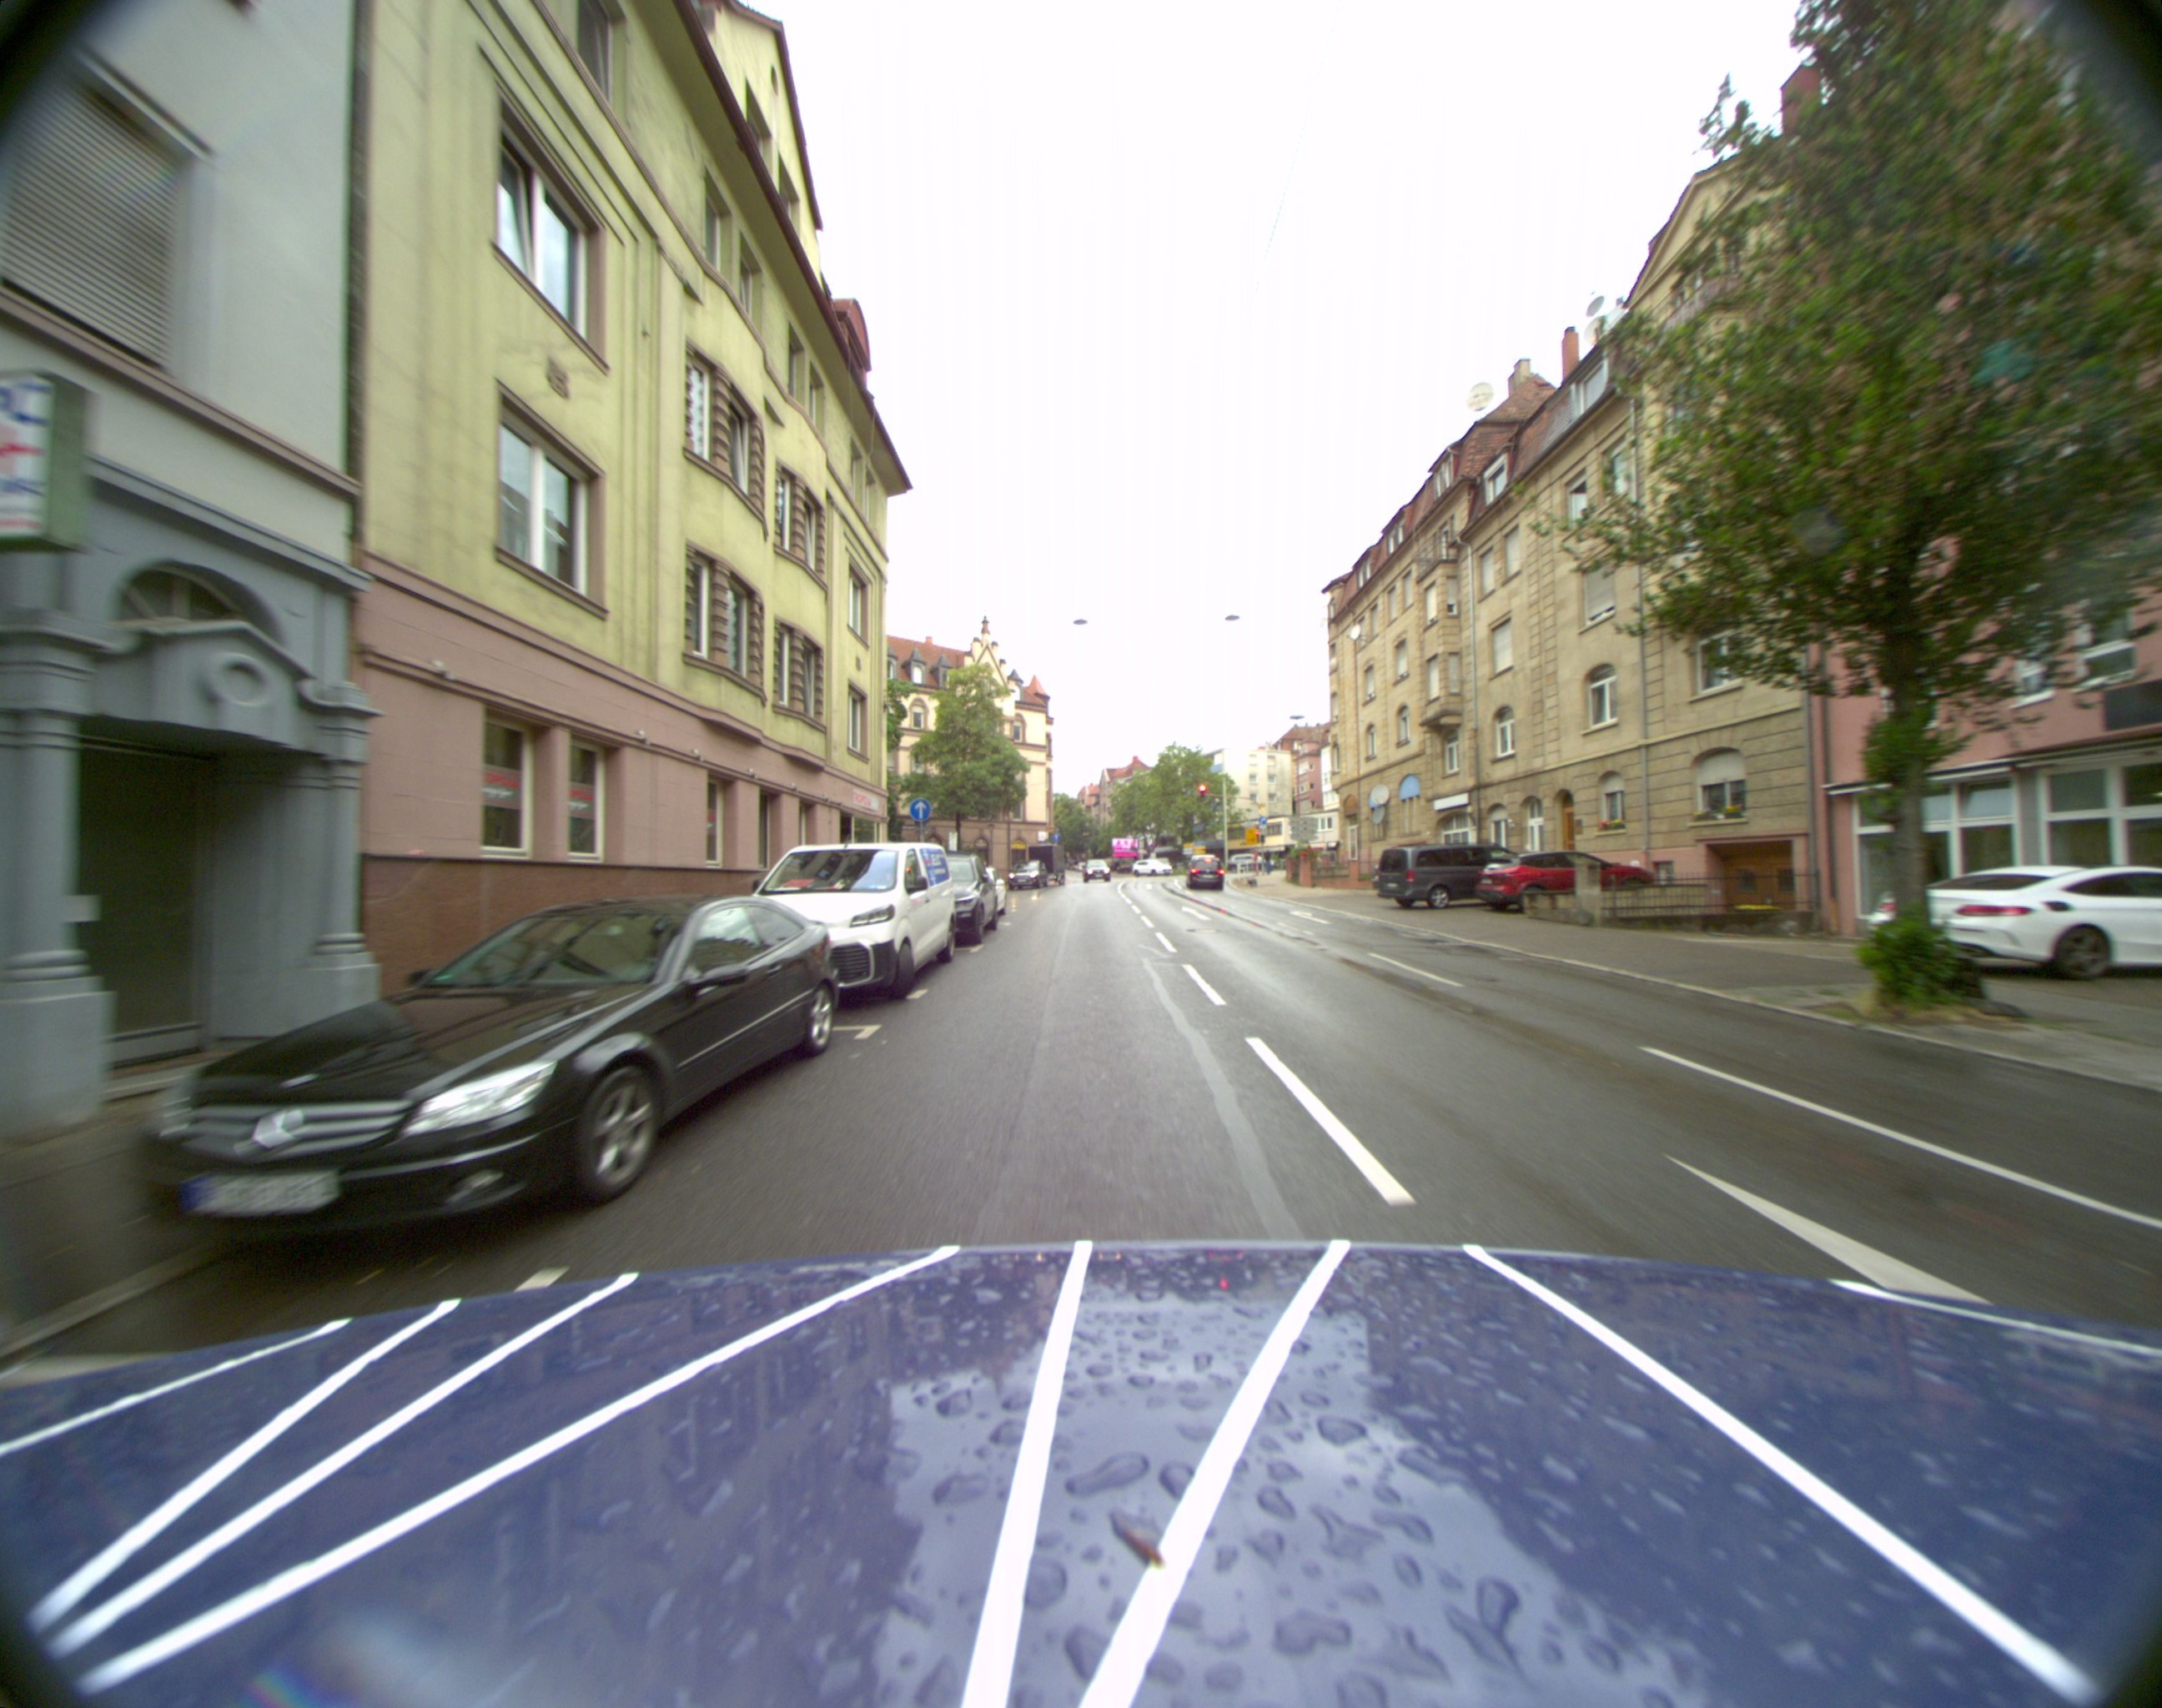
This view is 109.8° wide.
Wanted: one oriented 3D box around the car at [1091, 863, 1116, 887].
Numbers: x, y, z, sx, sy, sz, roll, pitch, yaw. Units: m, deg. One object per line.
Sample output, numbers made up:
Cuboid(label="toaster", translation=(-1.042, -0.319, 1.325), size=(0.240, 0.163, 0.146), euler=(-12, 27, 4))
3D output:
Cuboid(label="car", translation=(1.608, 1.439, 53.542), size=(1.648, 1.594, 3.668), euler=(-1, 0, 2))

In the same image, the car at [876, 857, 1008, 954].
Cuboid(label="car", translation=(-2.728, 0.934, 16.030), size=(1.883, 1.721, 4.677), euler=(0, 0, 1))

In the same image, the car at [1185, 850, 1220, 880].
Cuboid(label="car", translation=(7.794, 0.661, 48.323), size=(1.968, 1.683, 4.811), euler=(-2, 1, 11))

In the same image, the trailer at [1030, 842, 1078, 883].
Cuboid(label="trailer", translation=(-1.735, 0.538, 50.743), size=(1.936, 2.621, 4.689), euler=(-1, 0, 14))

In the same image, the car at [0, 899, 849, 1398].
Cuboid(label="car", translation=(-2.976, 1.116, 4.670), size=(1.681, 1.367, 4.276), euler=(-2, 0, 1))

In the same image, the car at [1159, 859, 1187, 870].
Cuboid(label="car", translation=(13.261, 1.493, 109.578), size=(3.711, 1.408, 1.808), euler=(-3, 1, -33))

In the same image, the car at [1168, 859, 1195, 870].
Cuboid(label="car", translation=(14.252, 1.485, 107.577), size=(3.628, 1.408, 1.627), euler=(-3, 1, -37))

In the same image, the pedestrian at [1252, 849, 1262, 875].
Cuboid(label="pedestrian", translation=(11.929, 0.550, 51.501), size=(0.523, 1.763, 0.694), euler=(-3, 0, 7))

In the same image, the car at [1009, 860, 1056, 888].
Cuboid(label="car", translation=(-2.761, 1.149, 44.277), size=(1.860, 1.503, 3.685), euler=(-1, 0, 10))

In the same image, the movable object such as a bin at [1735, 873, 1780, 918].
Cuboid(label="movable object such as a bin", translation=(15.471, 0.944, 17.386), size=(0.533, 0.991, 0.550), euler=(-3, 0, 6))

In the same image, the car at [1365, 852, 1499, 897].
Cuboid(label="car", translation=(13.132, 0.760, 28.613), size=(4.157, 1.501, 1.873), euler=(-2, 0, 1))

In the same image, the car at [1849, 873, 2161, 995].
Cuboid(label="car", translation=(13.168, 0.972, 9.876), size=(4.559, 1.393, 1.768), euler=(0, 0, 0))

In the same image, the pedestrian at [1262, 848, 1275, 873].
Cuboid(label="pedestrian", translation=(13.042, 0.464, 52.907), size=(0.638, 1.692, 0.829), euler=(-3, 0, 3))

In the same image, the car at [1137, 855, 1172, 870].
Cuboid(label="car", translation=(10.993, 1.245, 114.002), size=(4.983, 1.966, 1.876), euler=(-3, 1, -28))

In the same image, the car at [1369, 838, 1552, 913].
Cuboid(label="car", translation=(11.470, 0.622, 23.106), size=(4.689, 1.927, 1.862), euler=(-3, 0, -9))

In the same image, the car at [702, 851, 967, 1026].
Cuboid(label="car", translation=(-2.931, 0.877, 10.387), size=(1.924, 1.816, 5.009), euler=(0, 0, 1))

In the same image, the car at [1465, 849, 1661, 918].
Cuboid(label="car", translation=(13.093, 0.762, 20.825), size=(4.107, 1.581, 1.897), euler=(-3, 1, 0))

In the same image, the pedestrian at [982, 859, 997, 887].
Cuboid(label="pedestrian", translation=(-5.701, 1.167, 47.317), size=(0.572, 1.723, 0.733), euler=(-3, 0, 28))

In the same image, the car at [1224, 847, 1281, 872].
Cuboid(label="car", translation=(15.278, 0.529, 67.859), size=(4.498, 2.002, 1.920), euler=(-3, 0, 30))

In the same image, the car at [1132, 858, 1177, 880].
Cuboid(label="car", translation=(7.112, 1.451, 73.950), size=(1.919, 2.002, 4.445), euler=(-3, 0, -33))

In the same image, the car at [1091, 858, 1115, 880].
Cuboid(label="car", translation=(1.670, 1.149, 58.555), size=(1.648, 1.594, 3.808), euler=(-1, 0, -1))

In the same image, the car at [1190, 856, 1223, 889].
Cuboid(label="car", translation=(6.588, 0.913, 40.064), size=(1.624, 1.639, 4.423), euler=(0, 0, 9))

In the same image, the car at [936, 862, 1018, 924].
Cuboid(label="car", translation=(-3.034, 1.084, 22.984), size=(1.803, 1.555, 4.492), euler=(-3, 0, 0))

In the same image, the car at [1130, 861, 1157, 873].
Cuboid(label="car", translation=(9.738, 2.002, 118.863), size=(3.841, 1.679, 1.802), euler=(-2, 1, -26))
